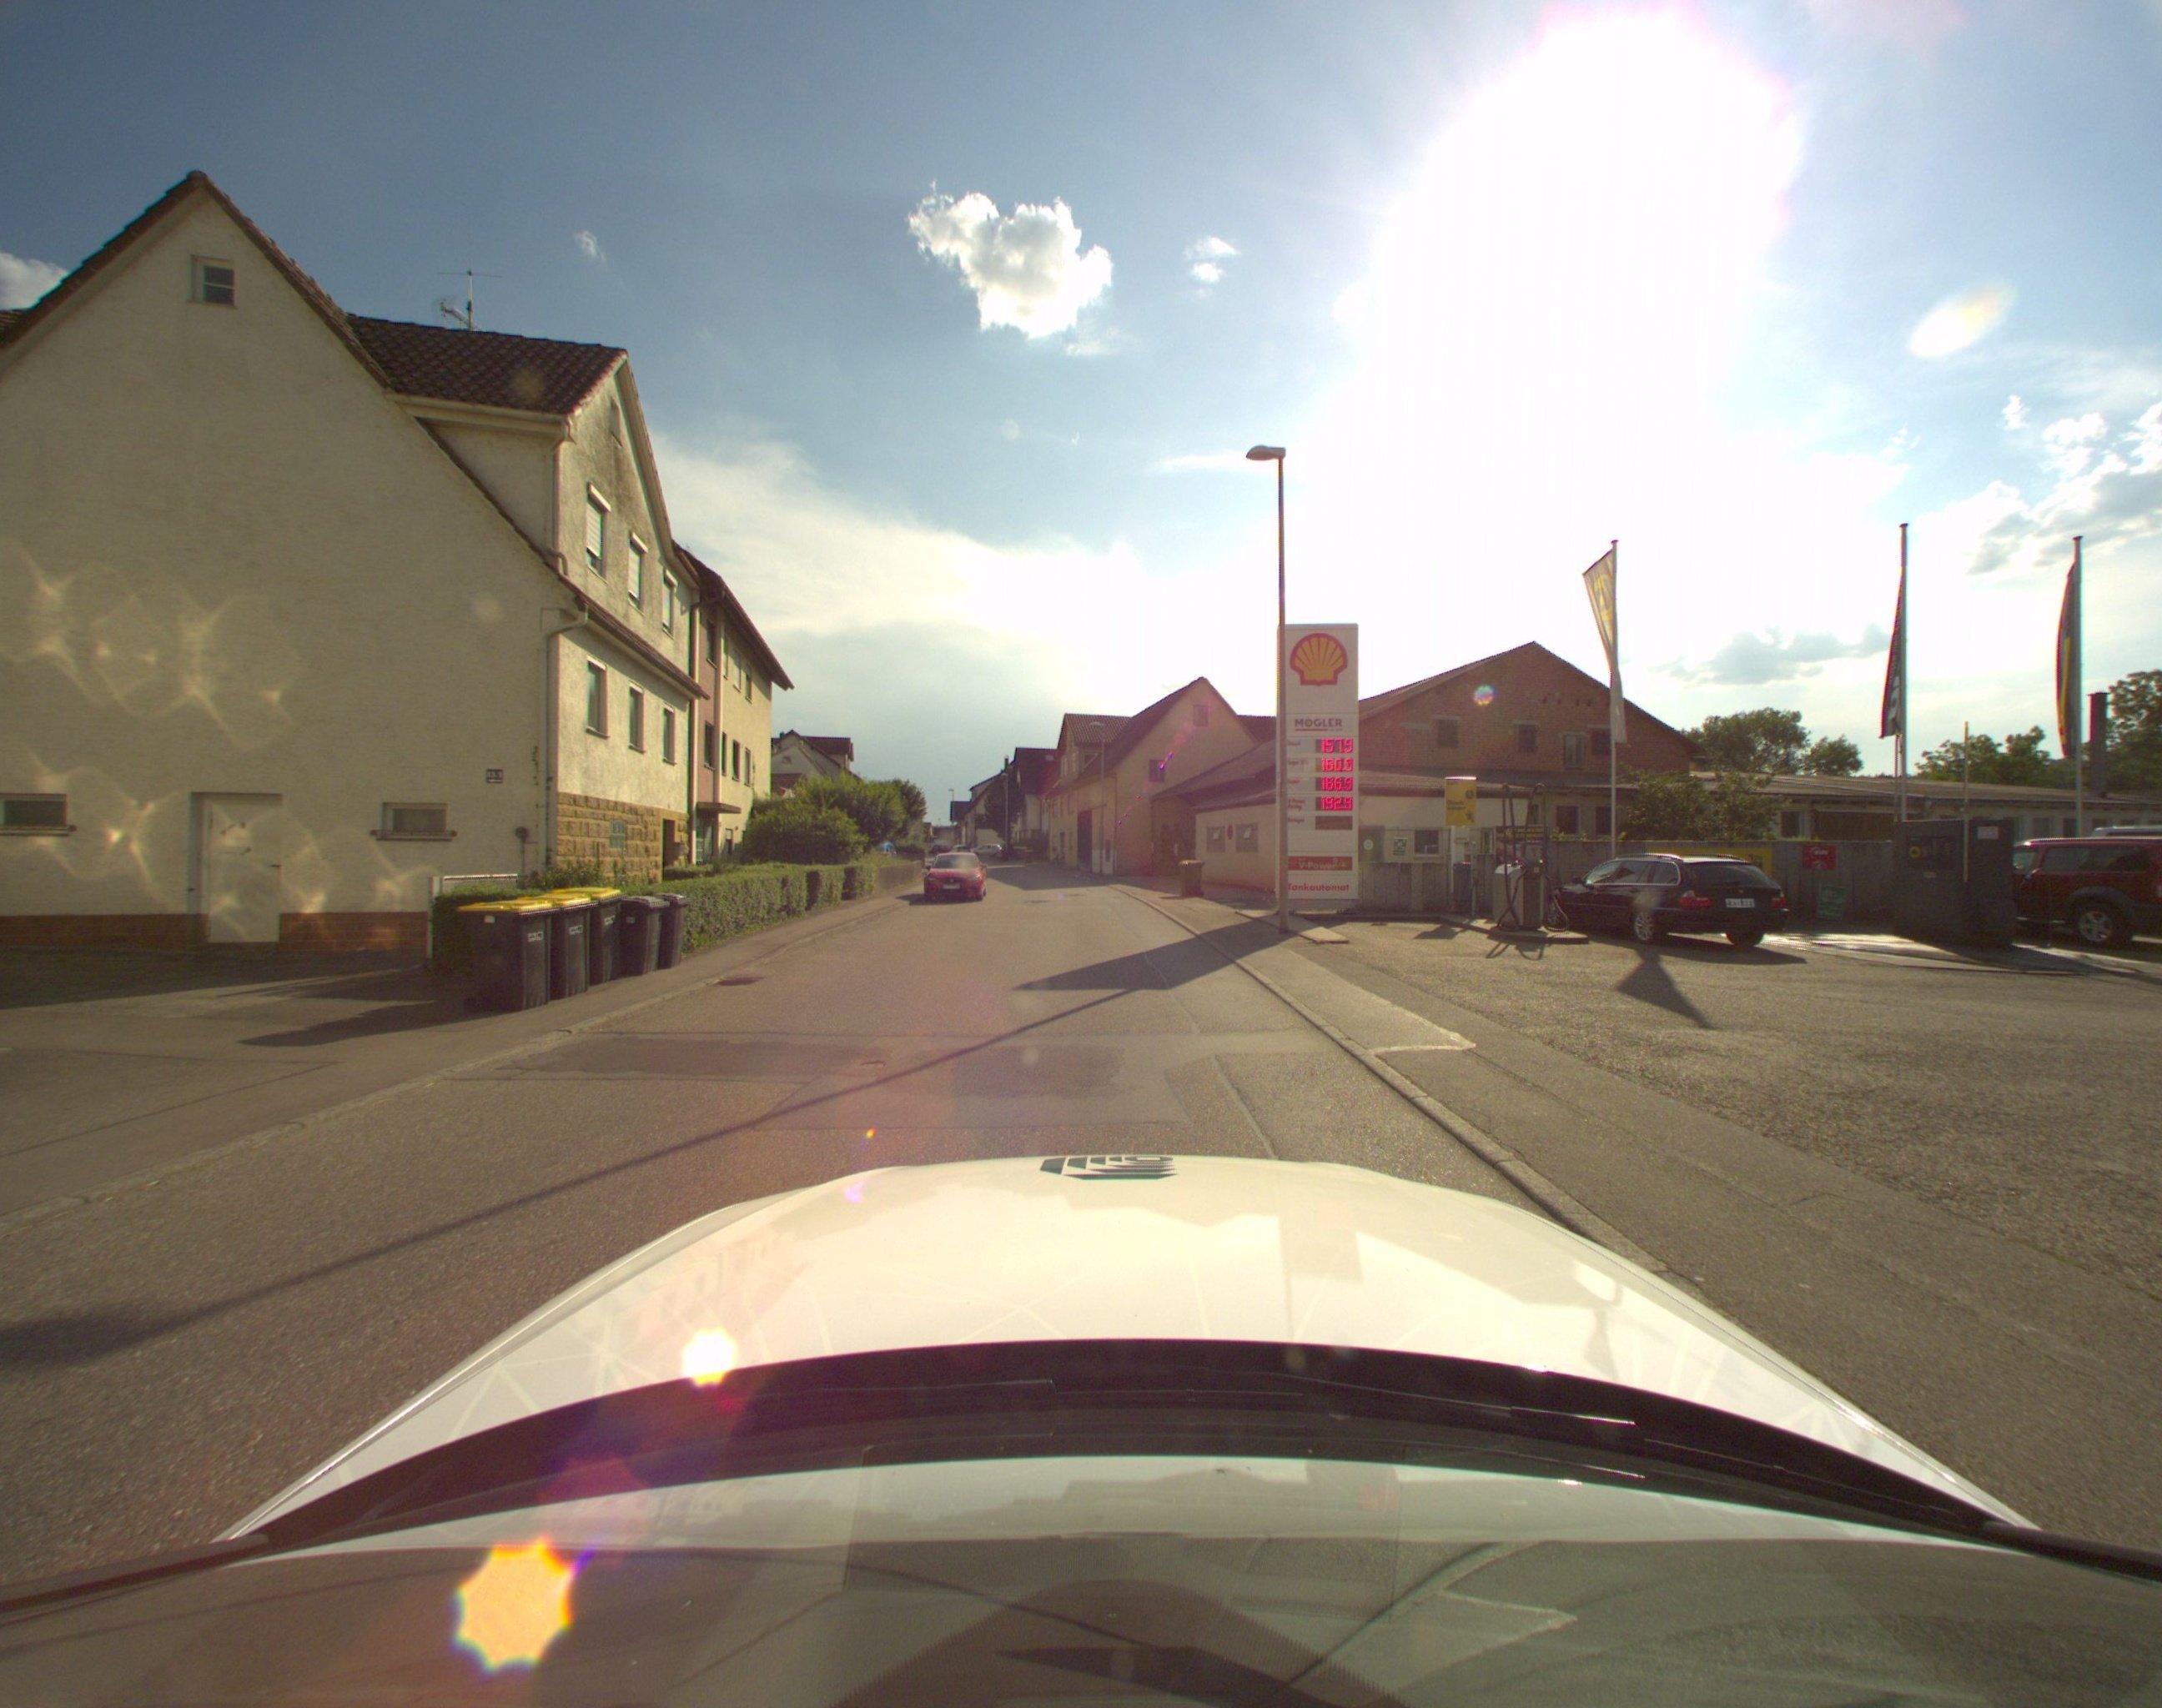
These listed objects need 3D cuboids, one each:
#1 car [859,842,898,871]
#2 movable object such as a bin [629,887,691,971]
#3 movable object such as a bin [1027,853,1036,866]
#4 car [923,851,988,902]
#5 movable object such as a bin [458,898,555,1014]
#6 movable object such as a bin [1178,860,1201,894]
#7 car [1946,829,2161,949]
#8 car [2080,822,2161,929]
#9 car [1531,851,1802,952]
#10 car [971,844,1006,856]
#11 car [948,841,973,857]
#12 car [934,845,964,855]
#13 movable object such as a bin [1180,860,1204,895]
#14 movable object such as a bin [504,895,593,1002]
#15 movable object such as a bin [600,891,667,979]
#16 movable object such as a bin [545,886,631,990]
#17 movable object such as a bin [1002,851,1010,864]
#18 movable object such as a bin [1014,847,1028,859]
[{"bbox_3d":[-9.942,0.129,40.142,1.357,1.372,3.190,-1,0,-5],"label":"car"},{"bbox_3d":[-5.408,0.953,10.470,0.529,1.022,0.458,-2,0,2],"label":"movable object such as a bin"},{"bbox_3d":[-3.877,0.426,64.198,0.653,1.073,0.511,0,0,-14],"label":"movable object such as a bin"},{"bbox_3d":[-3.842,0.660,25.394,1.706,1.435,3.773,-1,0,-5],"label":"car"},{"bbox_3d":[-5.772,1.012,8.206,0.586,1.084,0.508,-2,0,2],"label":"movable object such as a bin"},{"bbox_3d":[3.416,0.717,25.644,0.651,1.073,0.513,0,0,-1],"label":"movable object such as a bin"},{"bbox_3d":[16.968,0.490,13.528,1.570,1.792,3.637,0,1,5],"label":"car"},{"bbox_3d":[20.101,0.399,13.581,1.570,1.923,4.560,0,1,5],"label":"car"},{"bbox_3d":[9.737,0.683,14.050,1.572,1.427,4.382,1,0,1],"label":"car"},{"bbox_3d":[-10.770,-0.444,94.906,3.982,1.352,1.707,0,0,-7],"label":"car"},{"bbox_3d":[-12.610,-0.517,85.193,1.712,1.578,3.971,0,0,-22],"label":"car"},{"bbox_3d":[-18.472,-0.588,113.880,3.991,1.352,1.703,0,0,-13],"label":"car"},{"bbox_3d":[3.423,0.714,25.089,0.651,1.073,0.513,0,0,-1],"label":"movable object such as a bin"},{"bbox_3d":[-5.739,1.004,8.796,0.586,1.084,0.530,-2,0,2],"label":"movable object such as a bin"},{"bbox_3d":[-5.480,0.984,9.991,0.529,1.022,0.458,-2,0,2],"label":"movable object such as a bin"},{"bbox_3d":[-5.709,0.955,9.455,0.586,1.122,0.617,-2,0,2],"label":"movable object such as a bin"},{"bbox_3d":[-6.710,0.310,72.540,0.653,1.073,0.511,0,0,-14],"label":"movable object such as a bin"},{"bbox_3d":[-5.489,-0.096,74.379,1.160,1.168,0.653,0,0,-10],"label":"movable object such as a bin"}]
